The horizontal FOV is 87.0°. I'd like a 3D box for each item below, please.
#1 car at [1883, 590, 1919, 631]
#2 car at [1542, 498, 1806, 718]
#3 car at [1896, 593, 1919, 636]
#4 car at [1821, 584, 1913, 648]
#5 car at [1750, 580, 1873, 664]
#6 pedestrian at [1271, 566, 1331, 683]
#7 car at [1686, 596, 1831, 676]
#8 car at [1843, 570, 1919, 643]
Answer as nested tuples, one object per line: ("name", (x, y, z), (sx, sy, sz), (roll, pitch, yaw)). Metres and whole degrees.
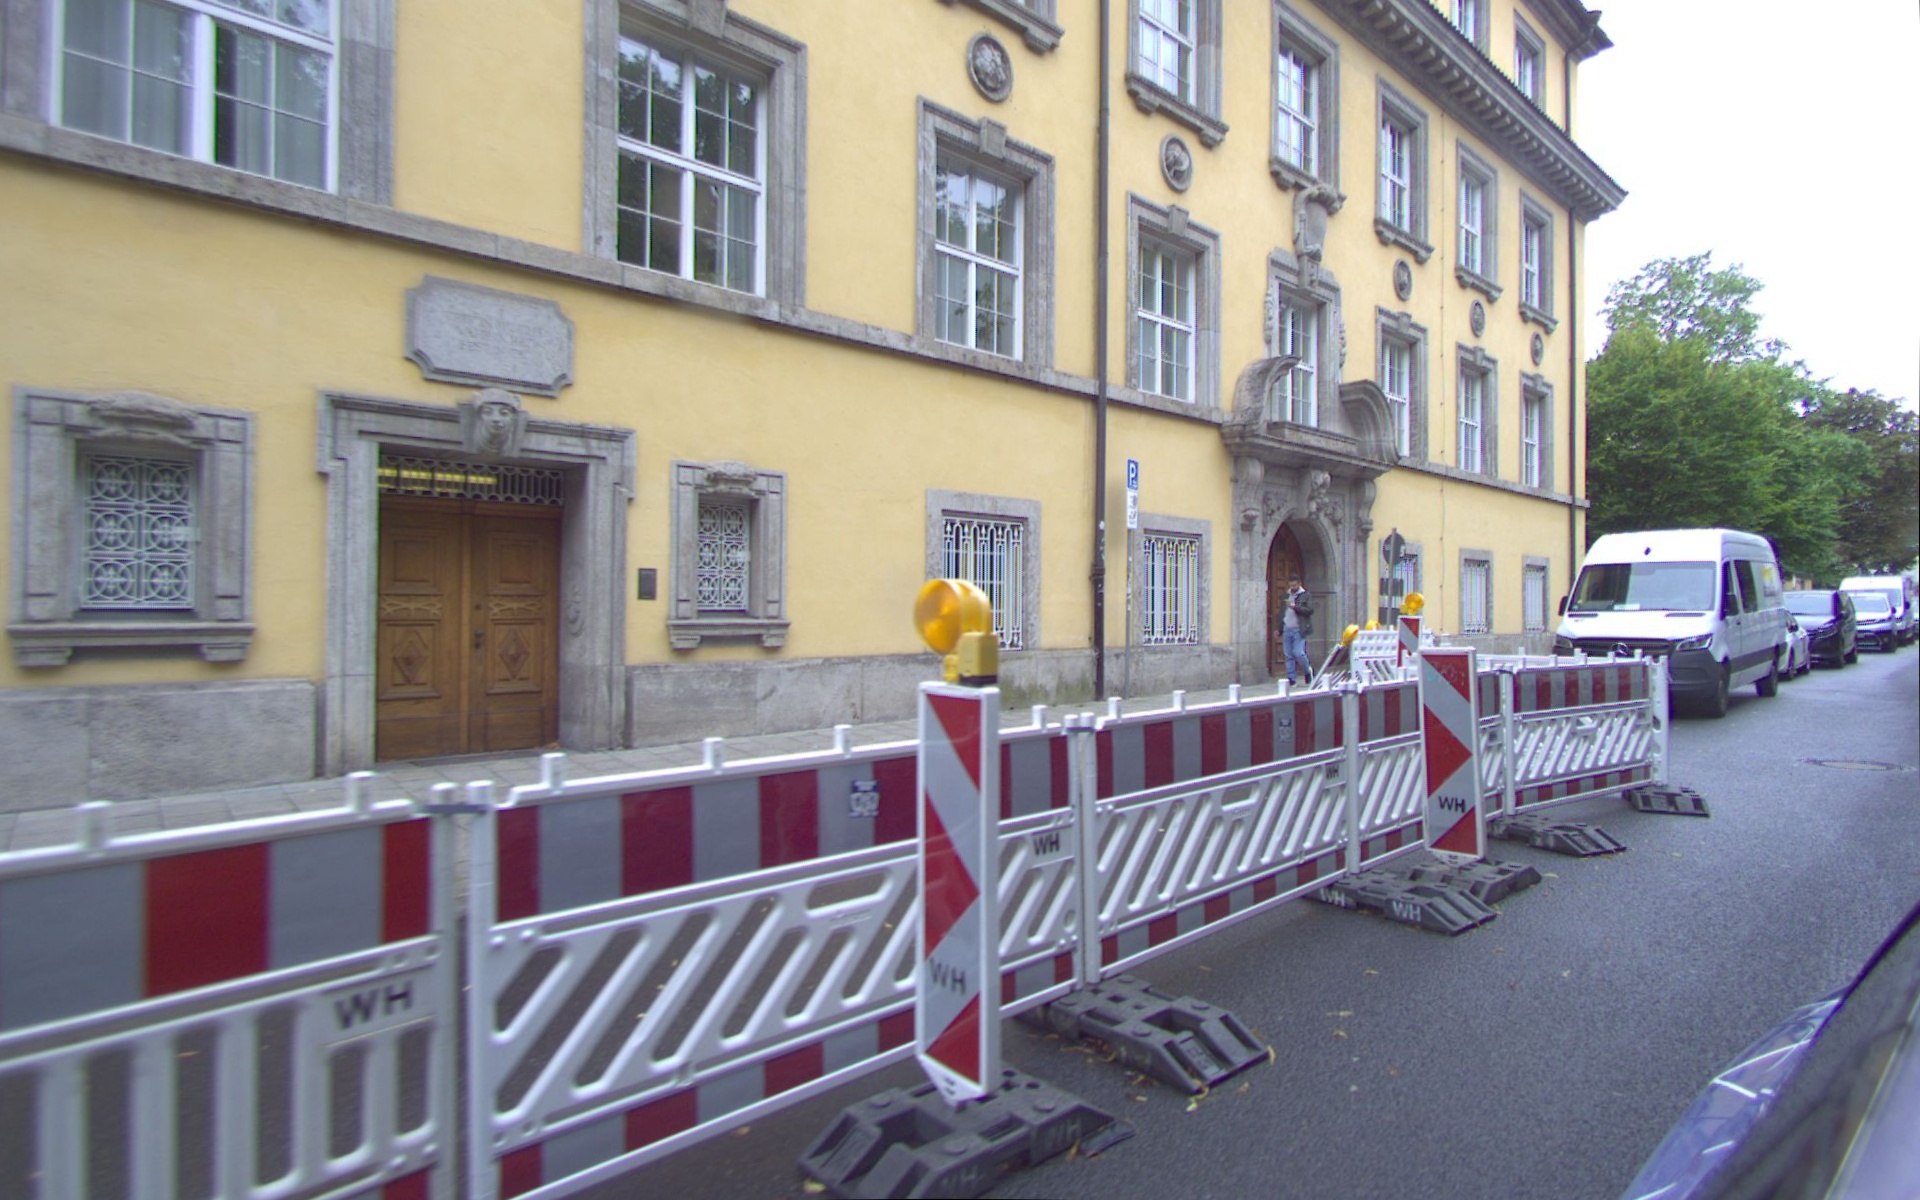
("car", (42.299, 0.443, 44.712), (4.525, 1.764, 1.860), (0, -1, -43))
("car", (11.388, 0.058, 15.801), (7.489, 2.706, 2.056), (-1, 0, -44))
("car", (46.632, 0.657, 48.848), (5.355, 1.992, 1.860), (0, 0, -44))
("car", (29.473, 0.491, 32.830), (2.013, 1.931, 5.082), (-2, -1, 44))
("car", (21.207, 0.476, 25.140), (4.905, 1.892, 1.872), (-1, 0, -44))
("pedestrian", (5.465, 0.368, 16.245), (0.573, 1.826, 0.701), (-1, 2, -43))
("car", (16.875, 0.676, 21.316), (4.185, 1.476, 1.872), (-1, 1, -44))
("car", (34.644, 0.172, 37.770), (5.646, 2.519, 2.097), (-1, 1, -44))
